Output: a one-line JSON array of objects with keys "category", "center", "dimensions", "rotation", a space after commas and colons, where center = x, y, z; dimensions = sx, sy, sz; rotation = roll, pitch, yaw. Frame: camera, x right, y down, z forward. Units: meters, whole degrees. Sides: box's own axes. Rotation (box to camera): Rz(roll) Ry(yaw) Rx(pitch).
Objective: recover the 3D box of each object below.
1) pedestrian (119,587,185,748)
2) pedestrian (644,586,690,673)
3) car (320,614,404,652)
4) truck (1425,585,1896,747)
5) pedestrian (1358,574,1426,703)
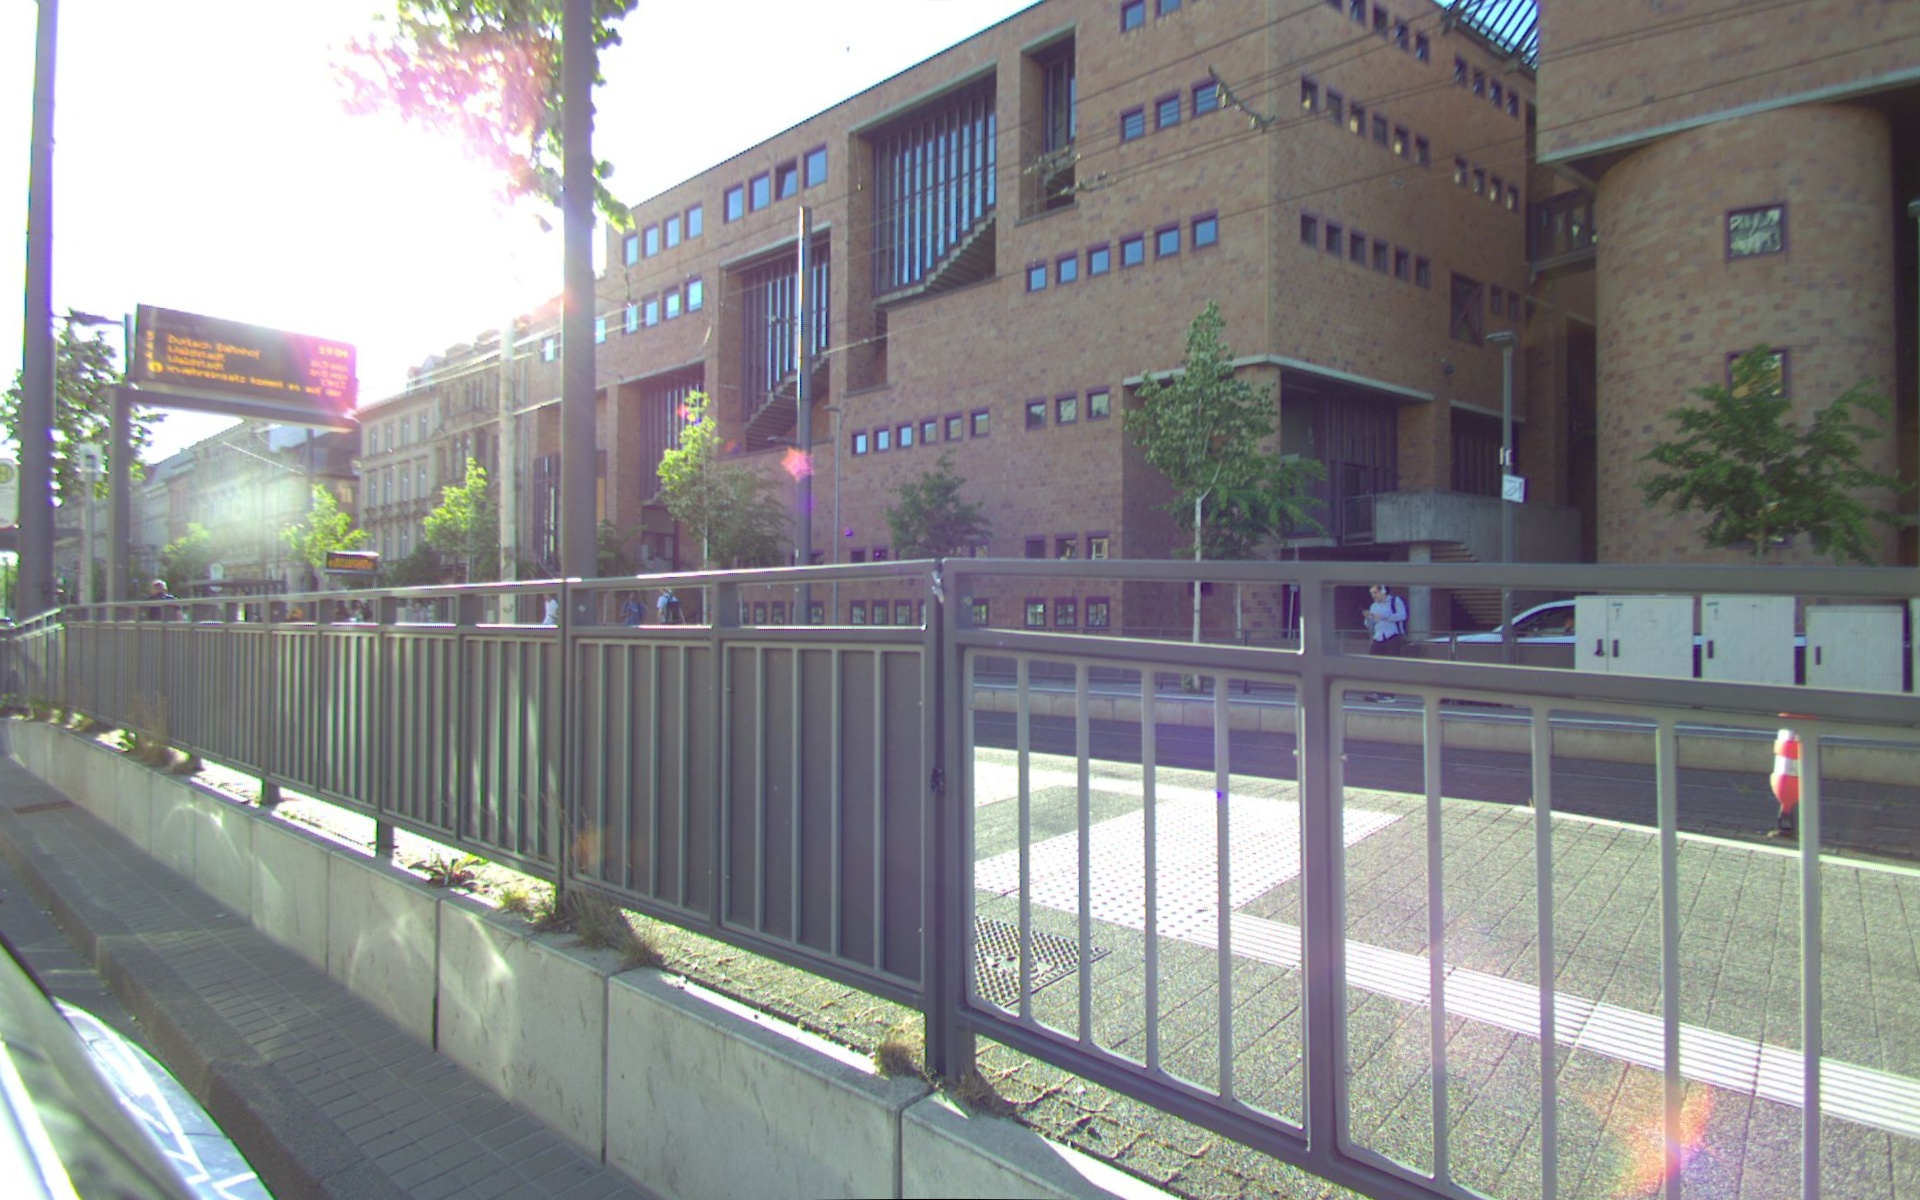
[{"category": "pedestrian", "center": [-12.736, 1.027, 15.960], "dimensions": [0.625, 2.461, 0.676], "rotation": [0, 0, 38]}, {"category": "pedestrian", "center": [-6.314, 0.620, 21.827], "dimensions": [0.668, 1.821, 0.677], "rotation": [0, 0, 40]}, {"category": "car", "center": [-26.731, 1.440, 45.185], "dimensions": [4.691, 1.580, 1.806], "rotation": [0, -2, 40]}, {"category": "truck", "center": [9.562, 0.874, 14.295], "dimensions": [5.148, 1.894, 1.974], "rotation": [-1, -4, 38]}, {"category": "pedestrian", "center": [5.743, 0.491, 13.449], "dimensions": [0.684, 1.647, 0.660], "rotation": [0, 0, 37]}]
